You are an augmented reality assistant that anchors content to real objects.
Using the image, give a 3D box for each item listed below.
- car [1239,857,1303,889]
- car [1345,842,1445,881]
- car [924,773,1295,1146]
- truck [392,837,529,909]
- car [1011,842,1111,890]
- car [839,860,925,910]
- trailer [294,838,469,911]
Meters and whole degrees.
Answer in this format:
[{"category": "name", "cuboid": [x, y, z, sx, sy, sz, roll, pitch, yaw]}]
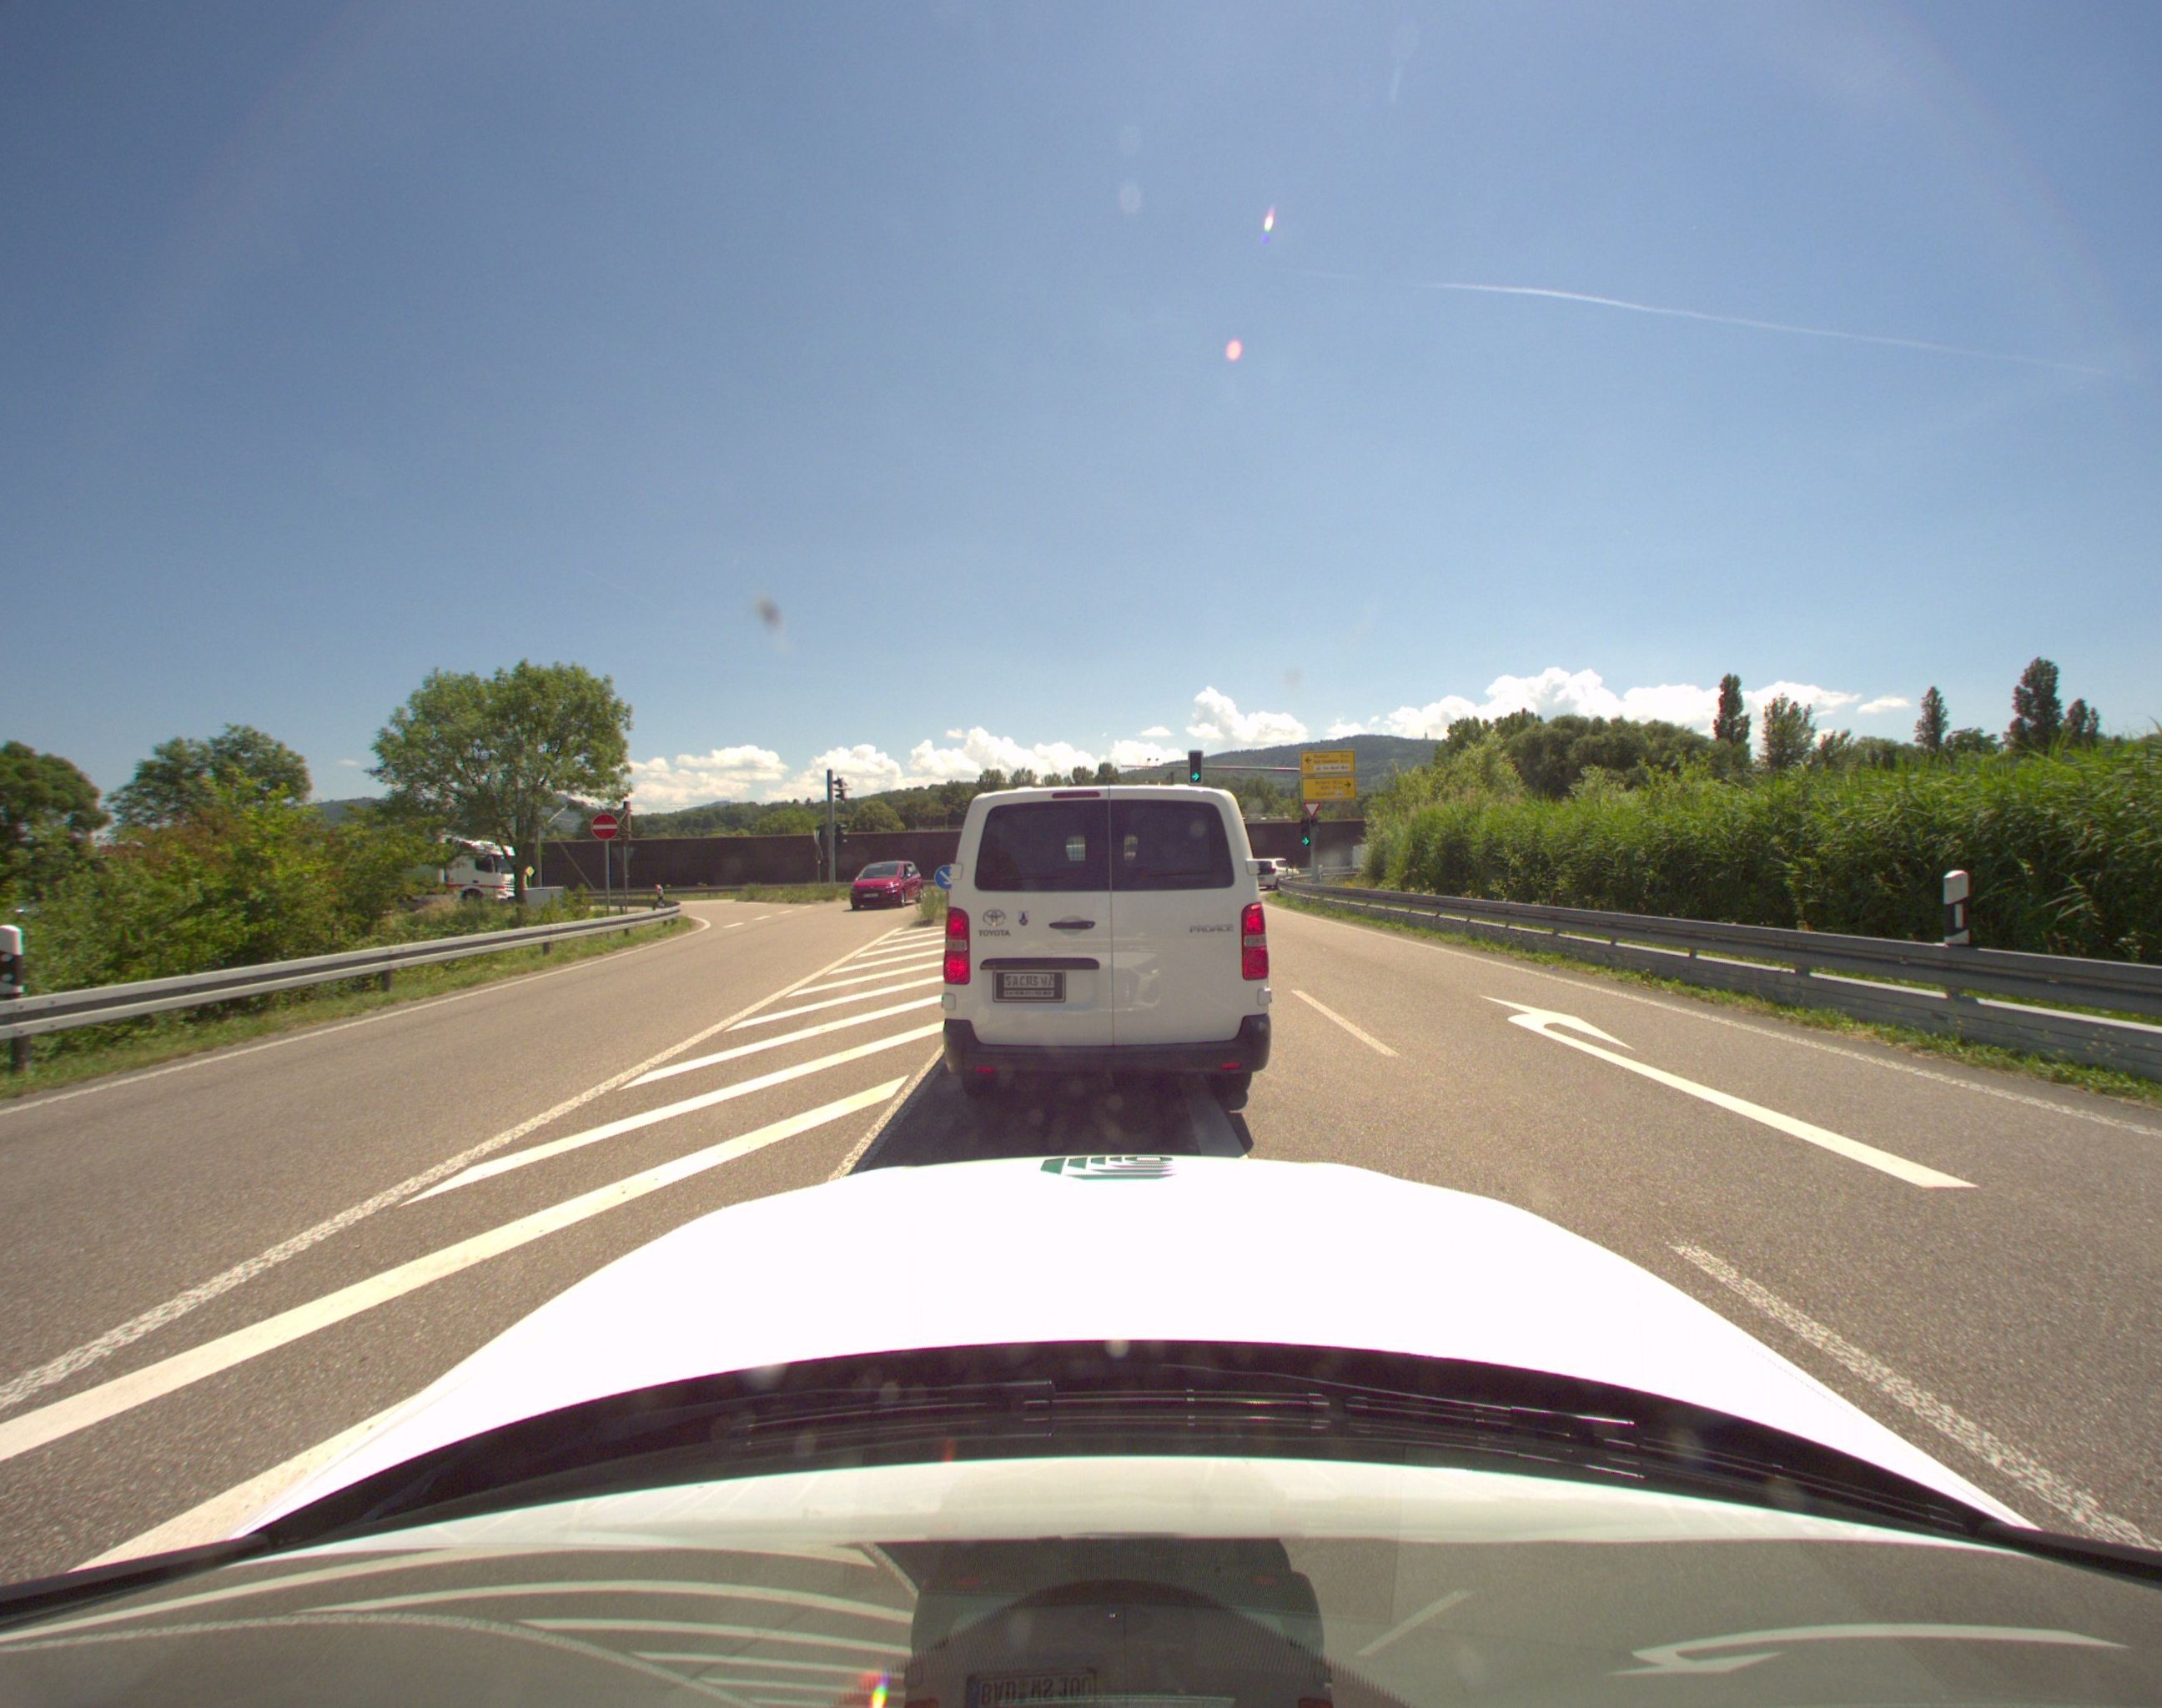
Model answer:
[{"category": "car", "cuboid": [8.916, 0.874, 38.097, 1.640, 1.431, 3.387, -1, -1, 37]}, {"category": "car", "cuboid": [16.750, 0.382, 43.444, 4.834, 2.000, 1.923, -1, -1, -18]}, {"category": "car", "cuboid": [0.183, 0.562, 6.183, 1.880, 1.886, 4.000, -1, -1, 1]}, {"category": "truck", "cuboid": [-32.989, 0.991, 43.436, 5.249, 3.646, 2.519, -1, -1, -3]}, {"category": "car", "cuboid": [-1.054, 0.633, 44.643, 5.390, 2.451, 2.015, -1, -1, -40]}, {"category": "car", "cuboid": [-7.105, 1.063, 29.509, 1.987, 1.656, 4.324, -1, -1, 0]}, {"category": "trailer", "cuboid": [-36.961, 1.056, 43.195, 6.878, 3.646, 2.519, -1, -1, -3]}]
